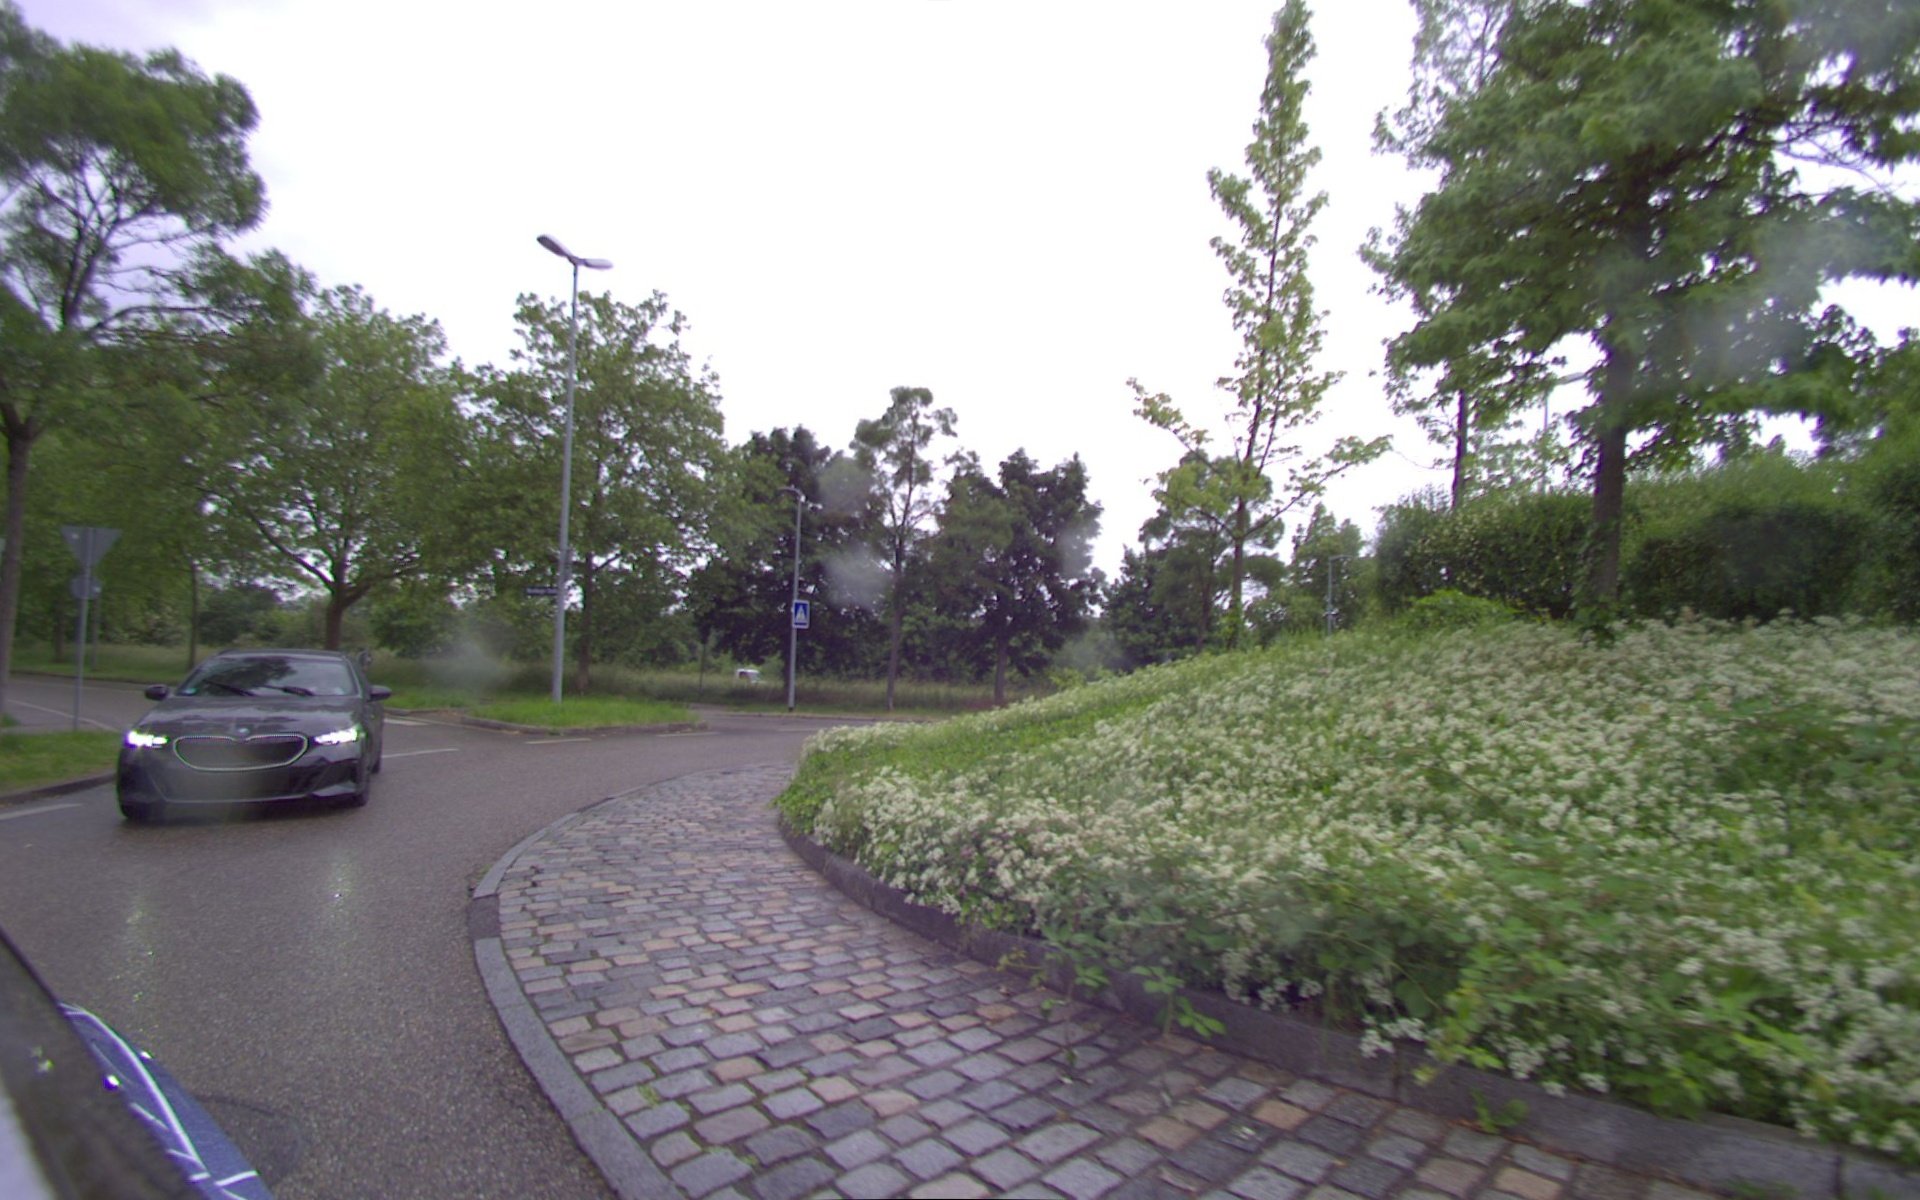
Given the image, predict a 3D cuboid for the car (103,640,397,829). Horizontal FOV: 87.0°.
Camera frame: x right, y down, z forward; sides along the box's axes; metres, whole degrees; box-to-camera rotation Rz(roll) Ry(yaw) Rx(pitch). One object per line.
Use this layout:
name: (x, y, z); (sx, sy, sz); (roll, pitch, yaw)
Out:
car: (-7.134, 1.277, 10.717); (1.813, 1.506, 4.916); (2, -5, -27)
